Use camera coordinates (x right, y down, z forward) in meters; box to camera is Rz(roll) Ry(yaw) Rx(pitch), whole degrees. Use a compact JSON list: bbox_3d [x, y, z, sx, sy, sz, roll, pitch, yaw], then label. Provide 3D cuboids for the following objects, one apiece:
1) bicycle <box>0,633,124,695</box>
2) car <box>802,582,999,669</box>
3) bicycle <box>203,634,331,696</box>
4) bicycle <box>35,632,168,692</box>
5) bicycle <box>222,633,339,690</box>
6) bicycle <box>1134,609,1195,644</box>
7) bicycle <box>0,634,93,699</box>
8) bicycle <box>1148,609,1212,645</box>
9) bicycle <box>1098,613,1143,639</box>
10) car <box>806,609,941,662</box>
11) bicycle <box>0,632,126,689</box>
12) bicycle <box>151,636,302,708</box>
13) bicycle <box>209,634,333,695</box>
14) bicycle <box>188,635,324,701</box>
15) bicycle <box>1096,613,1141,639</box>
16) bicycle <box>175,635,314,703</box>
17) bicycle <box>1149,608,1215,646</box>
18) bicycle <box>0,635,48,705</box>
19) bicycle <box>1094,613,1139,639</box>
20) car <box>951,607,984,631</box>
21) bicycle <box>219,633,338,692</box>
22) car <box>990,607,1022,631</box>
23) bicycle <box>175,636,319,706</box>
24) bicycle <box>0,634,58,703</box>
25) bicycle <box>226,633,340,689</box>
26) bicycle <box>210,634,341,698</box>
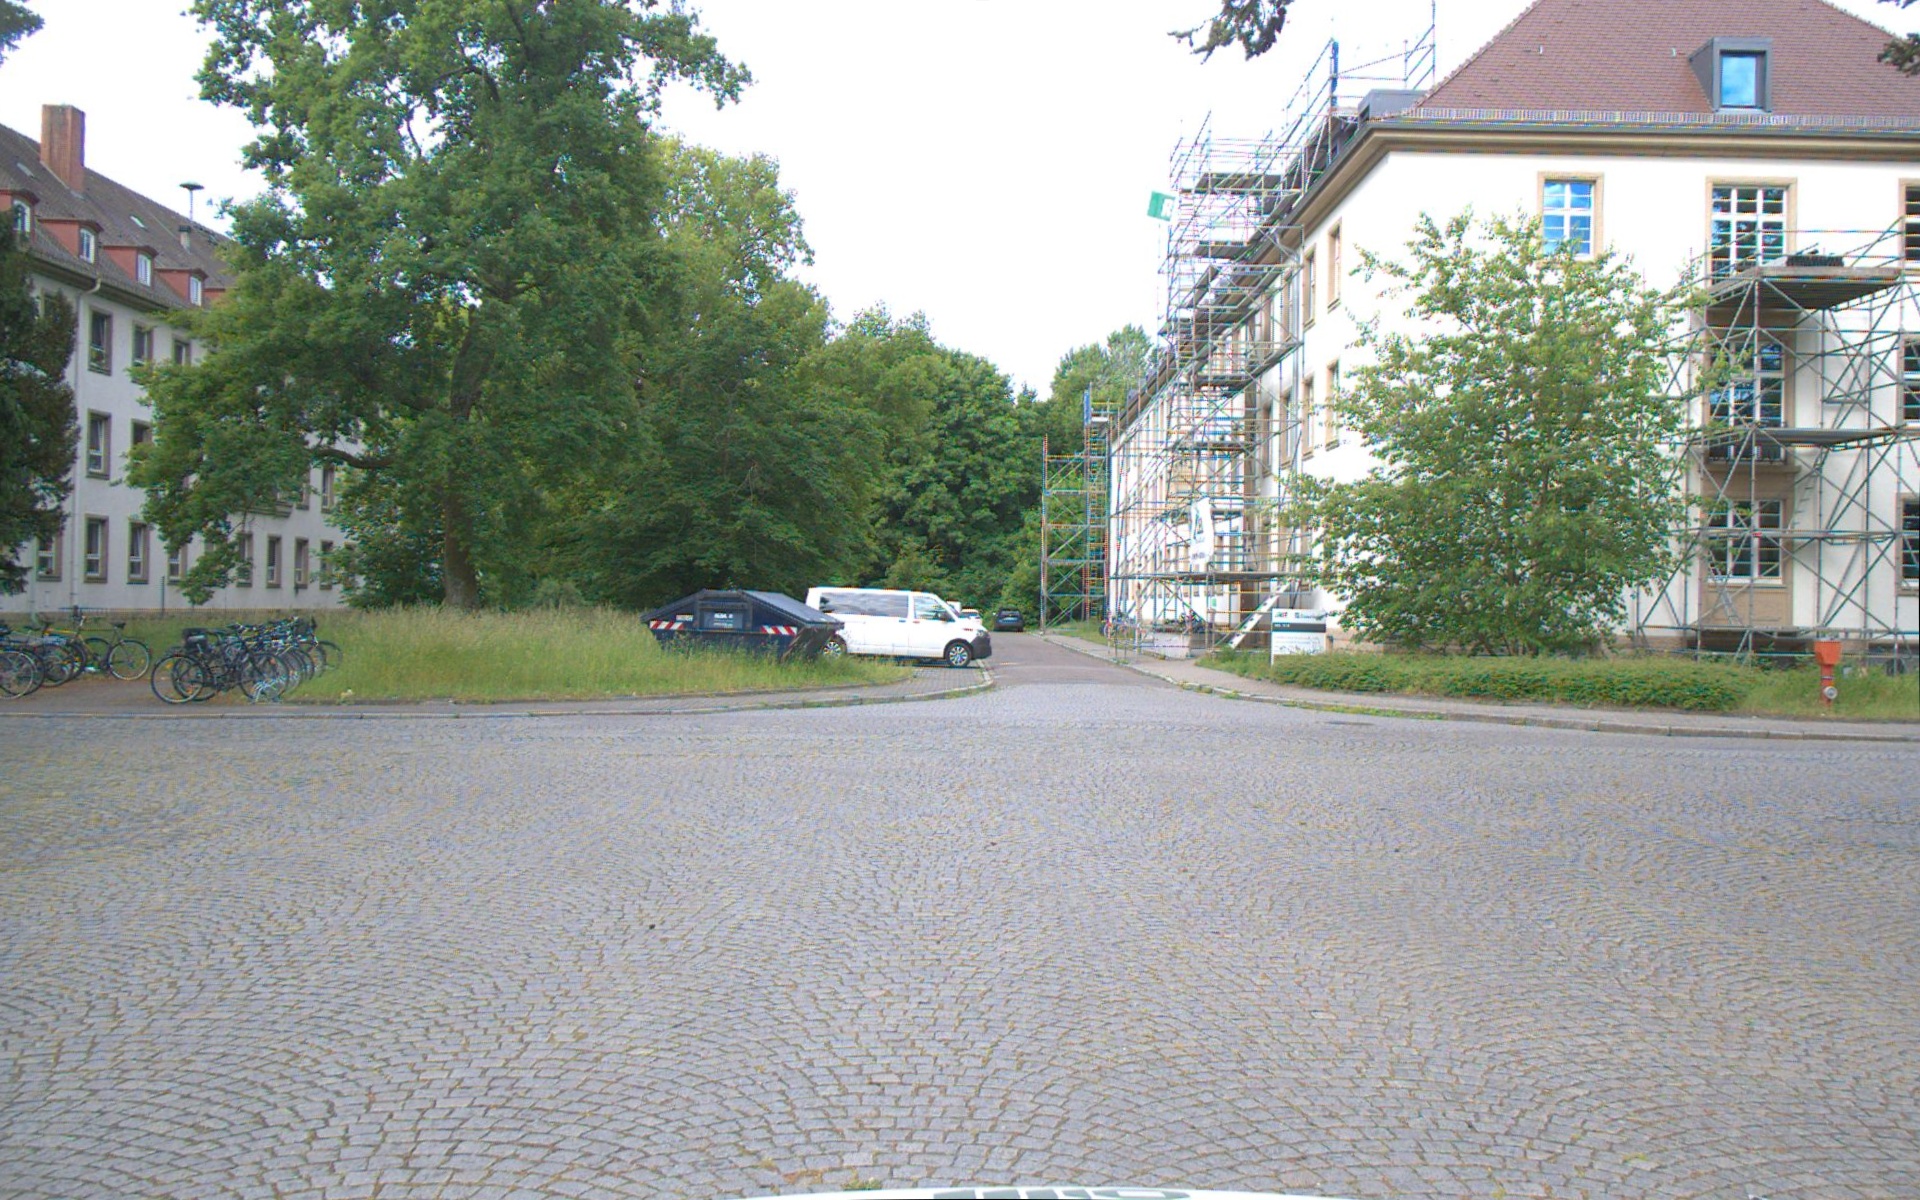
[{"bbox_3d":[-15.125,1.062,27.647,1.922,1.007,0.625,1,-1,-11],"label":"bicycle"},{"bbox_3d":[-1.588,0.670,44.303,5.130,2.206,1.999,1,-1,-3],"label":"car"},{"bbox_3d":[-11.582,1.078,27.684,1.931,1.007,0.622,1,-1,-23],"label":"bicycle"},{"bbox_3d":[-14.851,1.076,28.658,1.922,1.007,0.625,1,-1,-11],"label":"bicycle"},{"bbox_3d":[-12.294,1.106,29.957,1.931,1.007,0.622,1,-1,-23],"label":"bicycle"},{"bbox_3d":[7.609,0.997,61.587,2.194,1.276,0.778,1,-1,2],"label":"bicycle"},{"bbox_3d":[-14.892,1.043,26.302,1.934,1.007,0.621,1,-1,-27],"label":"bicycle"},{"bbox_3d":[7.878,0.966,59.244,2.194,1.276,0.778,1,-1,2],"label":"bicycle"},{"bbox_3d":[7.870,1.275,81.195,2.194,1.276,0.627,1,-1,2],"label":"bicycle"},{"bbox_3d":[-2.446,0.992,46.886,3.713,1.420,1.999,1,0,-3],"label":"car"},{"bbox_3d":[-16.294,1.089,30.073,1.926,1.007,0.624,1,-1,-17],"label":"bicycle"},{"bbox_3d":[-10.556,1.030,23.869,1.929,1.007,0.623,1,-1,-21],"label":"bicycle"},{"bbox_3d":[-11.759,1.085,28.265,1.931,1.007,0.622,1,-1,-23],"label":"bicycle"},{"bbox_3d":[-11.084,1.058,26.086,1.931,1.007,0.622,1,-1,-23],"label":"bicycle"},{"bbox_3d":[7.875,1.291,82.294,2.194,1.276,0.698,1,-1,2],"label":"bicycle"},{"bbox_3d":[-10.984,1.050,25.461,1.931,1.007,0.622,1,-1,-23],"label":"bicycle"},{"bbox_3d":[7.679,0.938,57.331,2.194,1.276,0.778,1,-1,2],"label":"bicycle"},{"bbox_3d":[-14.428,1.015,24.107,1.934,1.007,0.621,1,-1,-27],"label":"bicycle"},{"bbox_3d":[7.878,1.303,83.139,2.194,1.276,0.634,1,-1,2],"label":"bicycle"},{"bbox_3d":[0.458,1.243,110.307,2.076,1.548,3.999,1,-1,-1],"label":"car"},{"bbox_3d":[-12.097,1.099,29.389,1.931,1.007,0.622,1,-1,-23],"label":"bicycle"},{"bbox_3d":[3.081,1.259,110.624,1.912,1.548,3.998,1,-1,-2],"label":"car"},{"bbox_3d":[-10.533,1.038,24.493,1.931,1.007,0.622,1,-1,-23],"label":"bicycle"},{"bbox_3d":[-14.558,1.021,24.596,1.931,1.007,0.622,1,-1,-23],"label":"bicycle"},{"bbox_3d":[-12.548,1.115,30.676,1.931,1.007,0.622,1,-1,-23],"label":"bicycle"},{"bbox_3d":[-11.140,1.070,26.962,1.931,1.007,0.622,1,-1,-23],"label":"bicycle"}]
